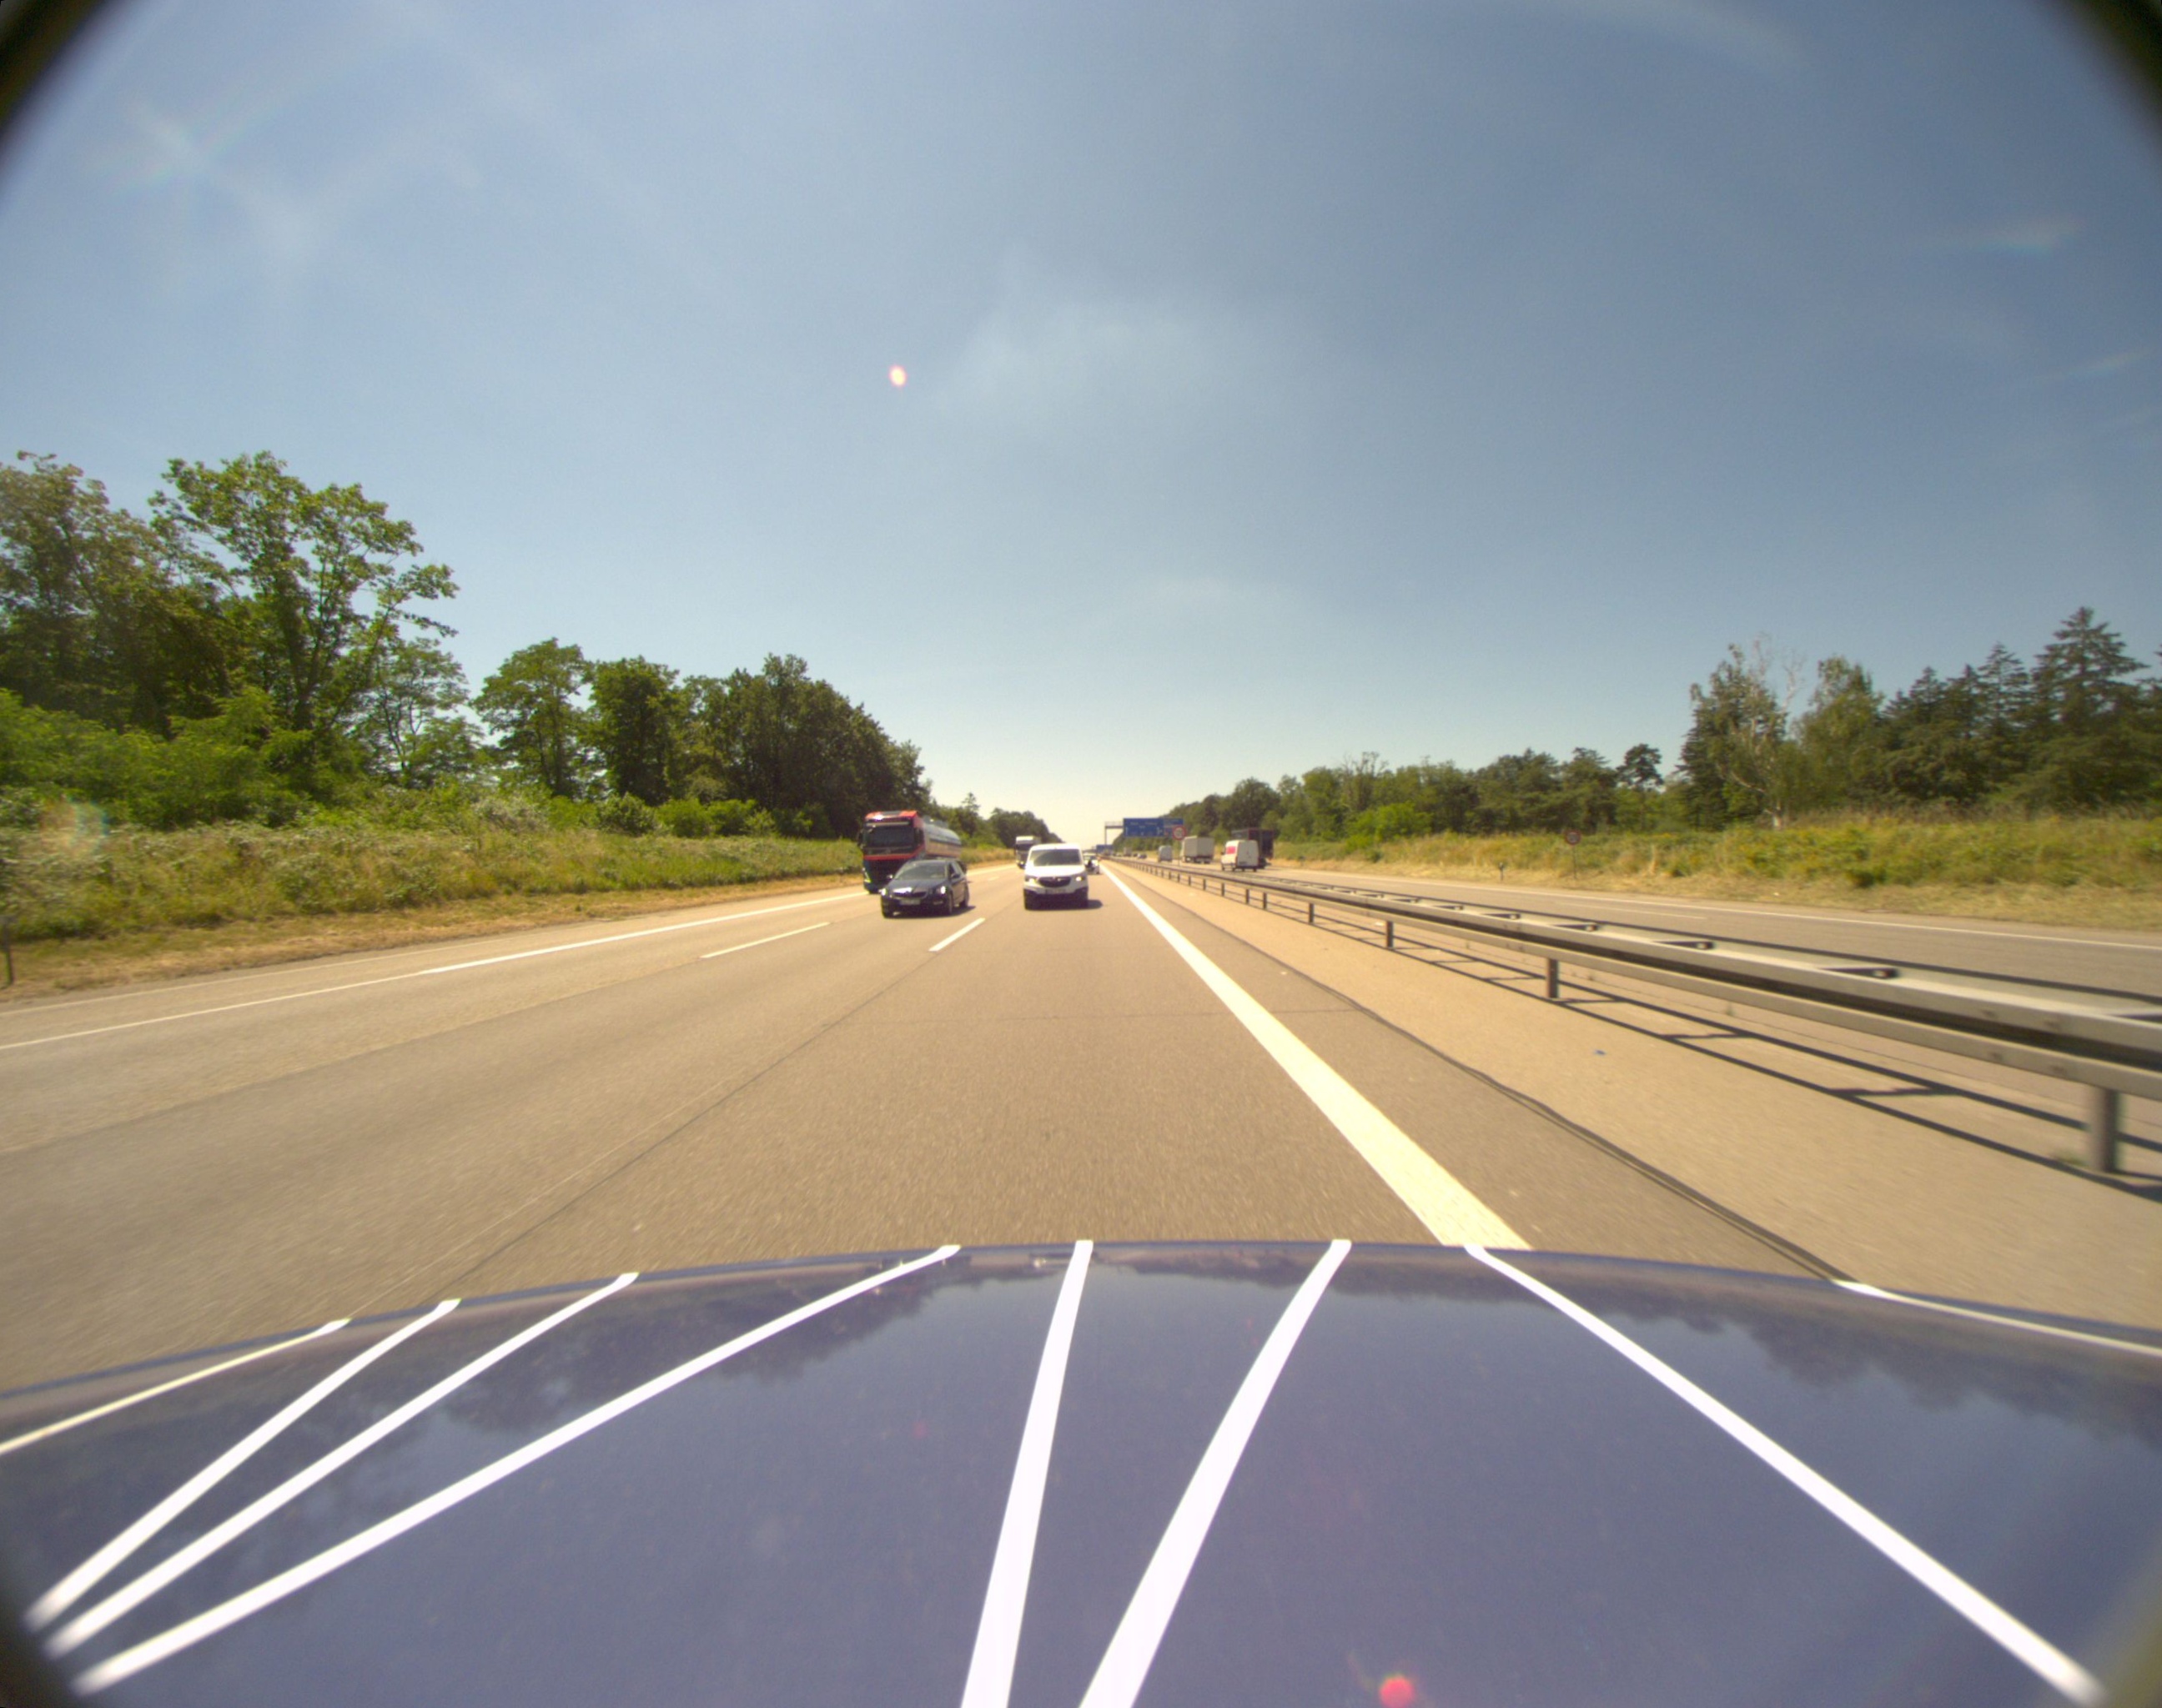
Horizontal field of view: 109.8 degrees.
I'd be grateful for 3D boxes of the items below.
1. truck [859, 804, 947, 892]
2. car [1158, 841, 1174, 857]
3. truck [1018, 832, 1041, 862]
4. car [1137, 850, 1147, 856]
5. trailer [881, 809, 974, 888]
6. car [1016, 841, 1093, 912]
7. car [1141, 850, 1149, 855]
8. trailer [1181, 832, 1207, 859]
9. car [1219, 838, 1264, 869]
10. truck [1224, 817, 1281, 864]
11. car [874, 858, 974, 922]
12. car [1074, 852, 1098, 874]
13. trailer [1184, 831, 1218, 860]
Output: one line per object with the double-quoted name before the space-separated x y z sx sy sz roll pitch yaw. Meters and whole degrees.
"truck" -8.315 -0.283 36.257 2.535 3.712 6.098 -2 1 1
"car" 13.756 -0.812 123.637 1.998 2.555 6.389 1 1 1
"truck" -7.039 -0.965 104.890 2.603 3.980 6.173 -2 1 1
"car" 15.177 -0.367 188.776 1.967 1.420 5.289 1 0 0
"trailer" -8.234 -0.330 42.433 2.535 3.712 11.548 -2 0 1
"car" -0.663 0.574 22.383 1.870 1.807 4.941 -2 0 2
"car" 19.180 -0.503 226.601 1.967 1.516 5.289 1 0 0
"trailer" 18.149 -1.333 122.479 3.163 4.174 6.325 1 1 1
"car" 13.584 -0.072 64.866 2.370 2.434 7.132 1 1 0
"truck" 18.159 -1.432 81.391 3.385 4.598 12.186 1 1 1
"car" -4.229 0.904 21.148 1.806 1.475 4.271 -2 0 0
"car" 0.342 0.581 52.798 1.581 1.412 3.352 -2 0 1
"trailer" 18.067 -1.279 115.413 3.163 4.174 14.124 1 1 1
